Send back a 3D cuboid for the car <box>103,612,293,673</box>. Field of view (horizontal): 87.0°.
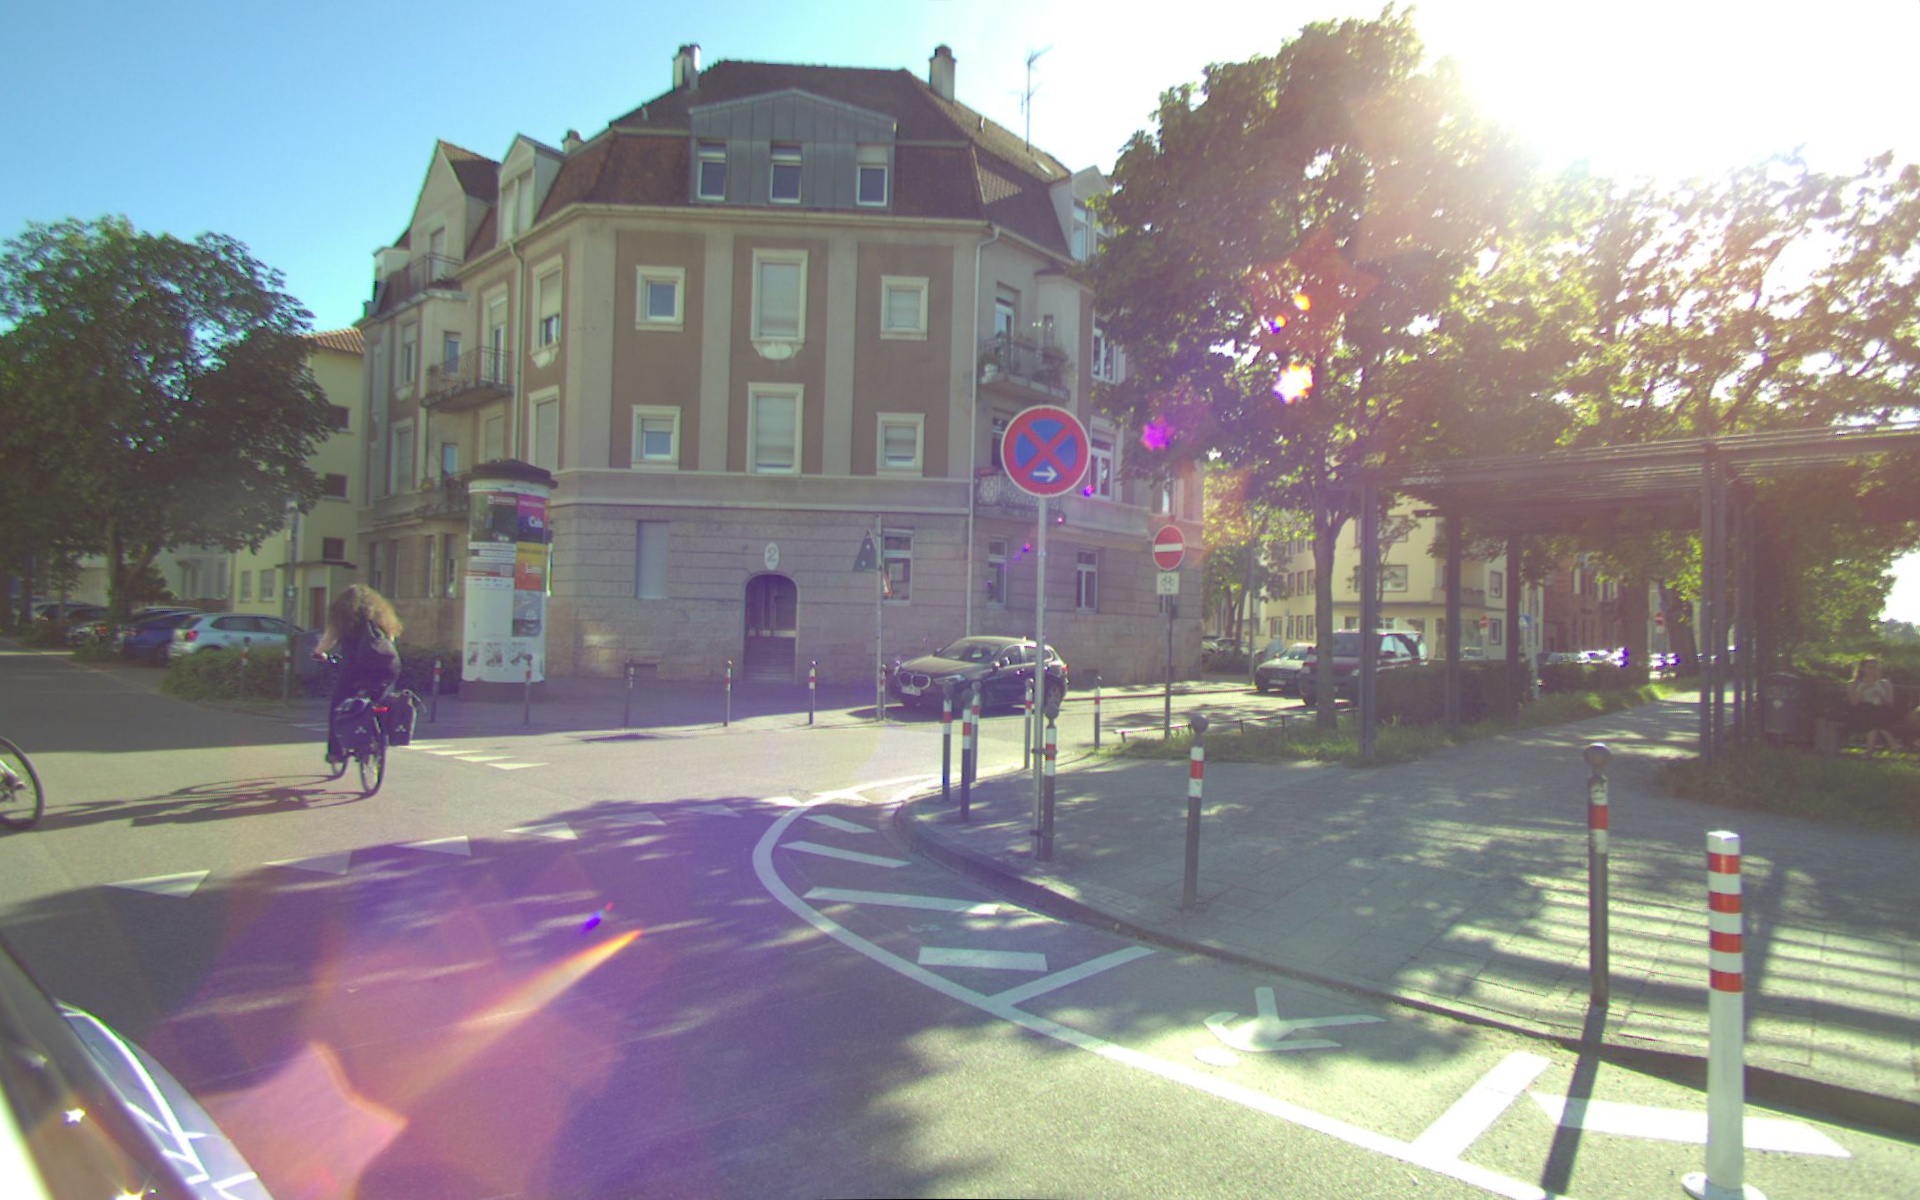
[{"bbox_3d":[-20.199,1.091,26.949,1.691,1.506,3.741,0,-2,40],"label":"car"}]

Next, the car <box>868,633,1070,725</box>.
[{"bbox_3d":[0.266,1.500,20.028,1.867,1.494,3.961,4,0,40],"label":"car"}]

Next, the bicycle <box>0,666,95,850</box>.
[{"bbox_3d":[-6.641,0.970,6.463,1.683,1.097,0.507,2,-2,-4],"label":"bicycle"}]

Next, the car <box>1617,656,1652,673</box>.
[{"bbox_3d":[47.840,4.554,71.764,1.680,1.141,3.698,-1,-3,41],"label":"car"}]

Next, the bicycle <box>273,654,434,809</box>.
[{"bbox_3d":[-5.249,1.059,8.695,2.066,1.117,0.635,-1,-3,44],"label":"bicycle"}]

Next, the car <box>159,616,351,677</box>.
[{"bbox_3d":[-18.064,1.163,26.054,1.691,1.455,3.741,0,-2,40],"label":"car"}]

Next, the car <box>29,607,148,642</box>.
[{"bbox_3d":[-38.812,1.082,45.121,1.690,1.506,3.743,0,-2,37],"label":"car"}]

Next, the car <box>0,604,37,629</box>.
[{"bbox_3d":[-66.111,1.149,69.717,1.691,1.716,3.483,0,-2,41],"label":"car"}]

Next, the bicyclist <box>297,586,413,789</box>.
[{"bbox_3d":[-5.147,0.716,8.614,0.637,1.632,0.635,-1,-3,44],"label":"bicyclist"}]

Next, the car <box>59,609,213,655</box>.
[{"bbox_3d":[-28.408,1.092,34.996,1.685,1.506,3.753,0,-1,29],"label":"car"}]

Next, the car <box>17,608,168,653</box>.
[{"bbox_3d":[-31.057,1.084,36.341,1.685,1.506,3.753,0,-1,29],"label":"car"}]

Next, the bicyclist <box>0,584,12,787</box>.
[{"bbox_3d":[-6.676,0.614,6.470,0.677,1.475,0.498,1,-2,-4],"label":"bicyclist"}]

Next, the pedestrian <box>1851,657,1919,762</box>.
[{"bbox_3d":[10.931,1.266,11.929,0.599,1.158,0.834,-1,-3,44],"label":"pedestrian"}]

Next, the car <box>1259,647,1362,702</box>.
[{"bbox_3d":[10.665,2.212,30.651,1.680,1.426,3.853,4,0,39],"label":"car"}]

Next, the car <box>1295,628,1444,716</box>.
[{"bbox_3d":[10.665,1.818,26.145,1.897,1.975,4.816,1,-2,43],"label":"car"}]

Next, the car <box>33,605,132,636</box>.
[{"bbox_3d":[-43.764,1.016,50.521,1.690,1.506,3.486,0,-2,37],"label":"car"}]

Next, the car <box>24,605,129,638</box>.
[{"bbox_3d":[-42.077,1.042,48.254,1.690,1.506,3.486,0,-2,37],"label":"car"}]

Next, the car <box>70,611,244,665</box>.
[{"bbox_3d":[-24.103,1.108,30.514,1.685,1.506,3.753,0,-1,29],"label":"car"}]
